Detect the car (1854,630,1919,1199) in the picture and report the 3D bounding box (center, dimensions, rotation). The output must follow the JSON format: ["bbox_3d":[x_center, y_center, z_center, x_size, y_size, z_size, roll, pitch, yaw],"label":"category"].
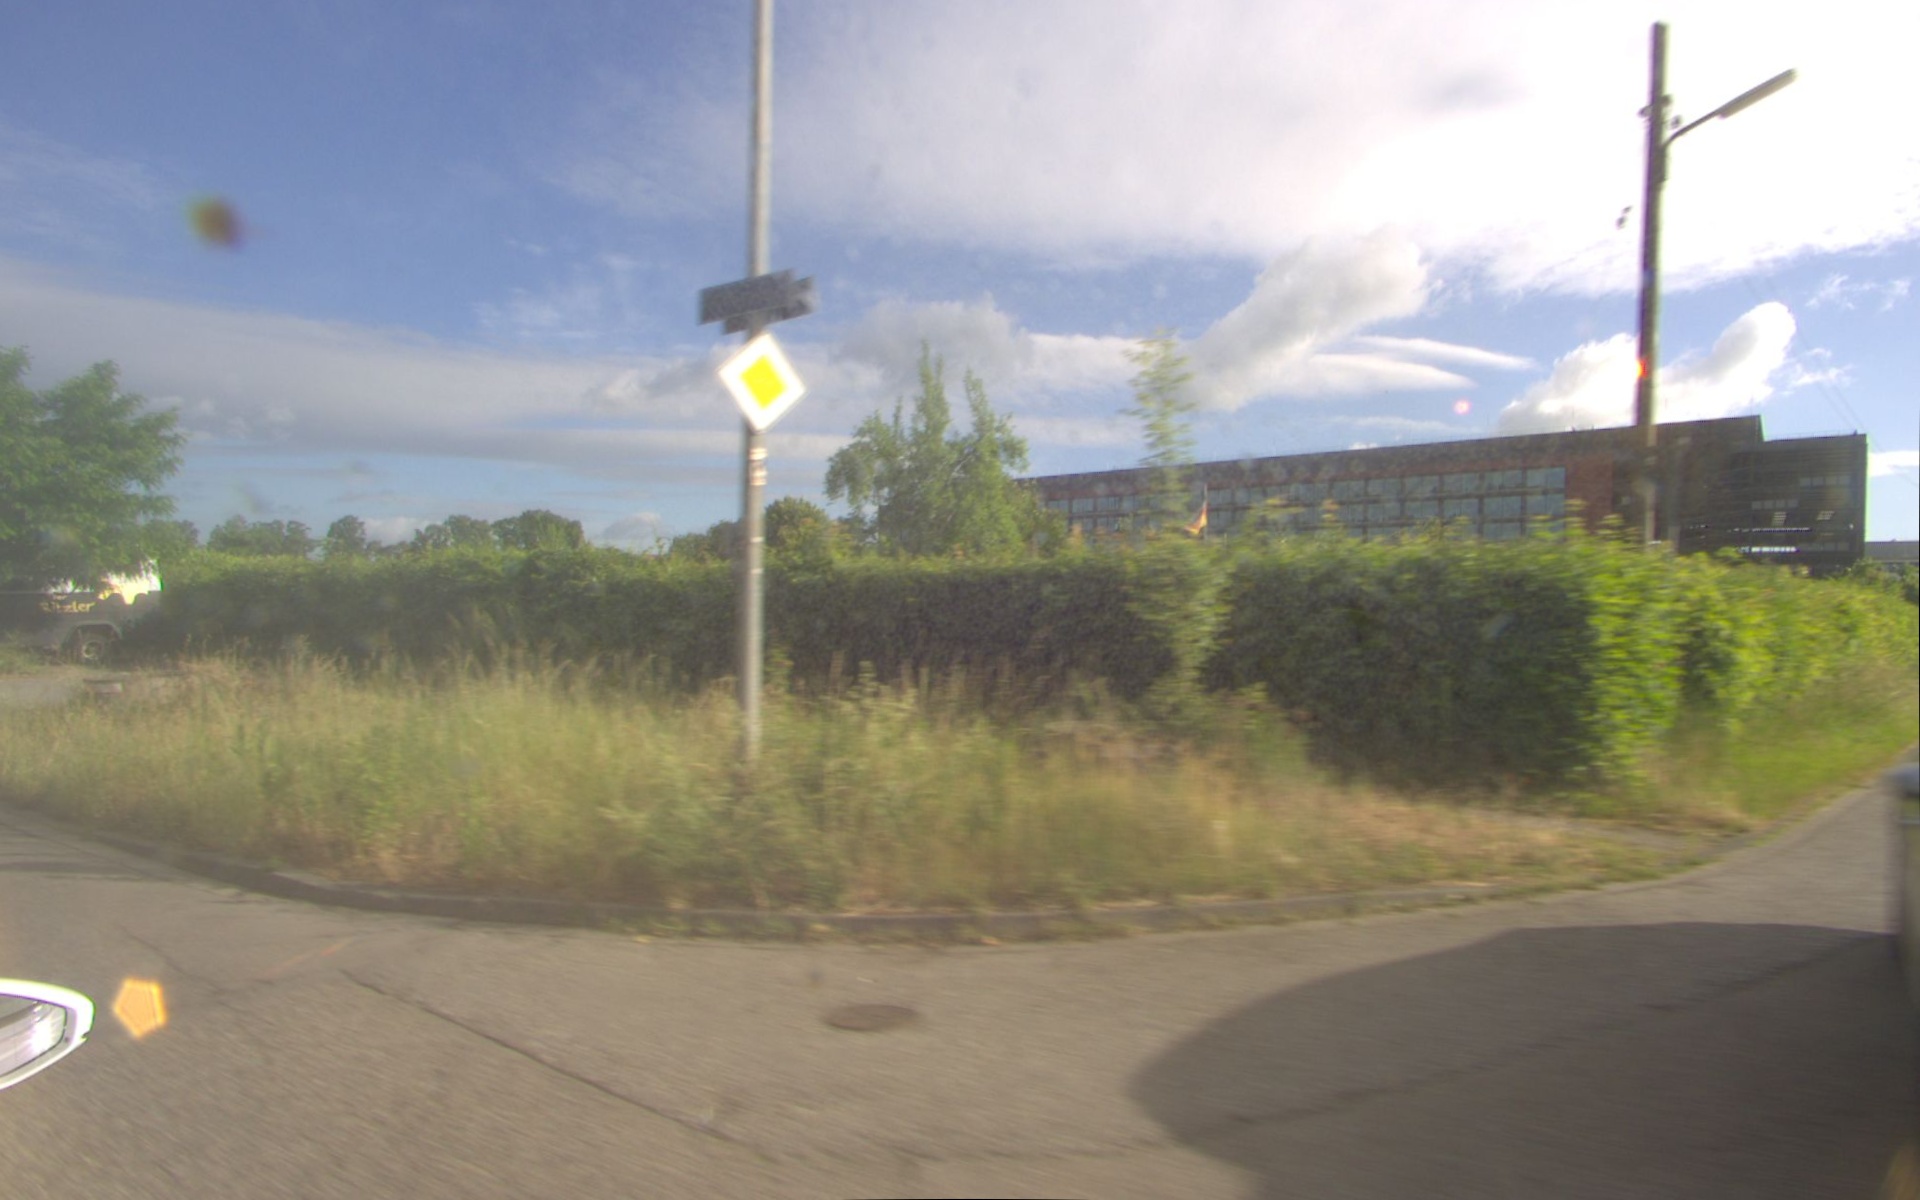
[{"bbox_3d":[3.952,0.843,2.866,1.909,1.462,4.343,0,-1,40],"label":"car"}]

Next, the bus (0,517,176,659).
[{"bbox_3d":[-19.560,-0.241,20.335,2.037,2.783,5.357,1,0,31],"label":"bus"}]
